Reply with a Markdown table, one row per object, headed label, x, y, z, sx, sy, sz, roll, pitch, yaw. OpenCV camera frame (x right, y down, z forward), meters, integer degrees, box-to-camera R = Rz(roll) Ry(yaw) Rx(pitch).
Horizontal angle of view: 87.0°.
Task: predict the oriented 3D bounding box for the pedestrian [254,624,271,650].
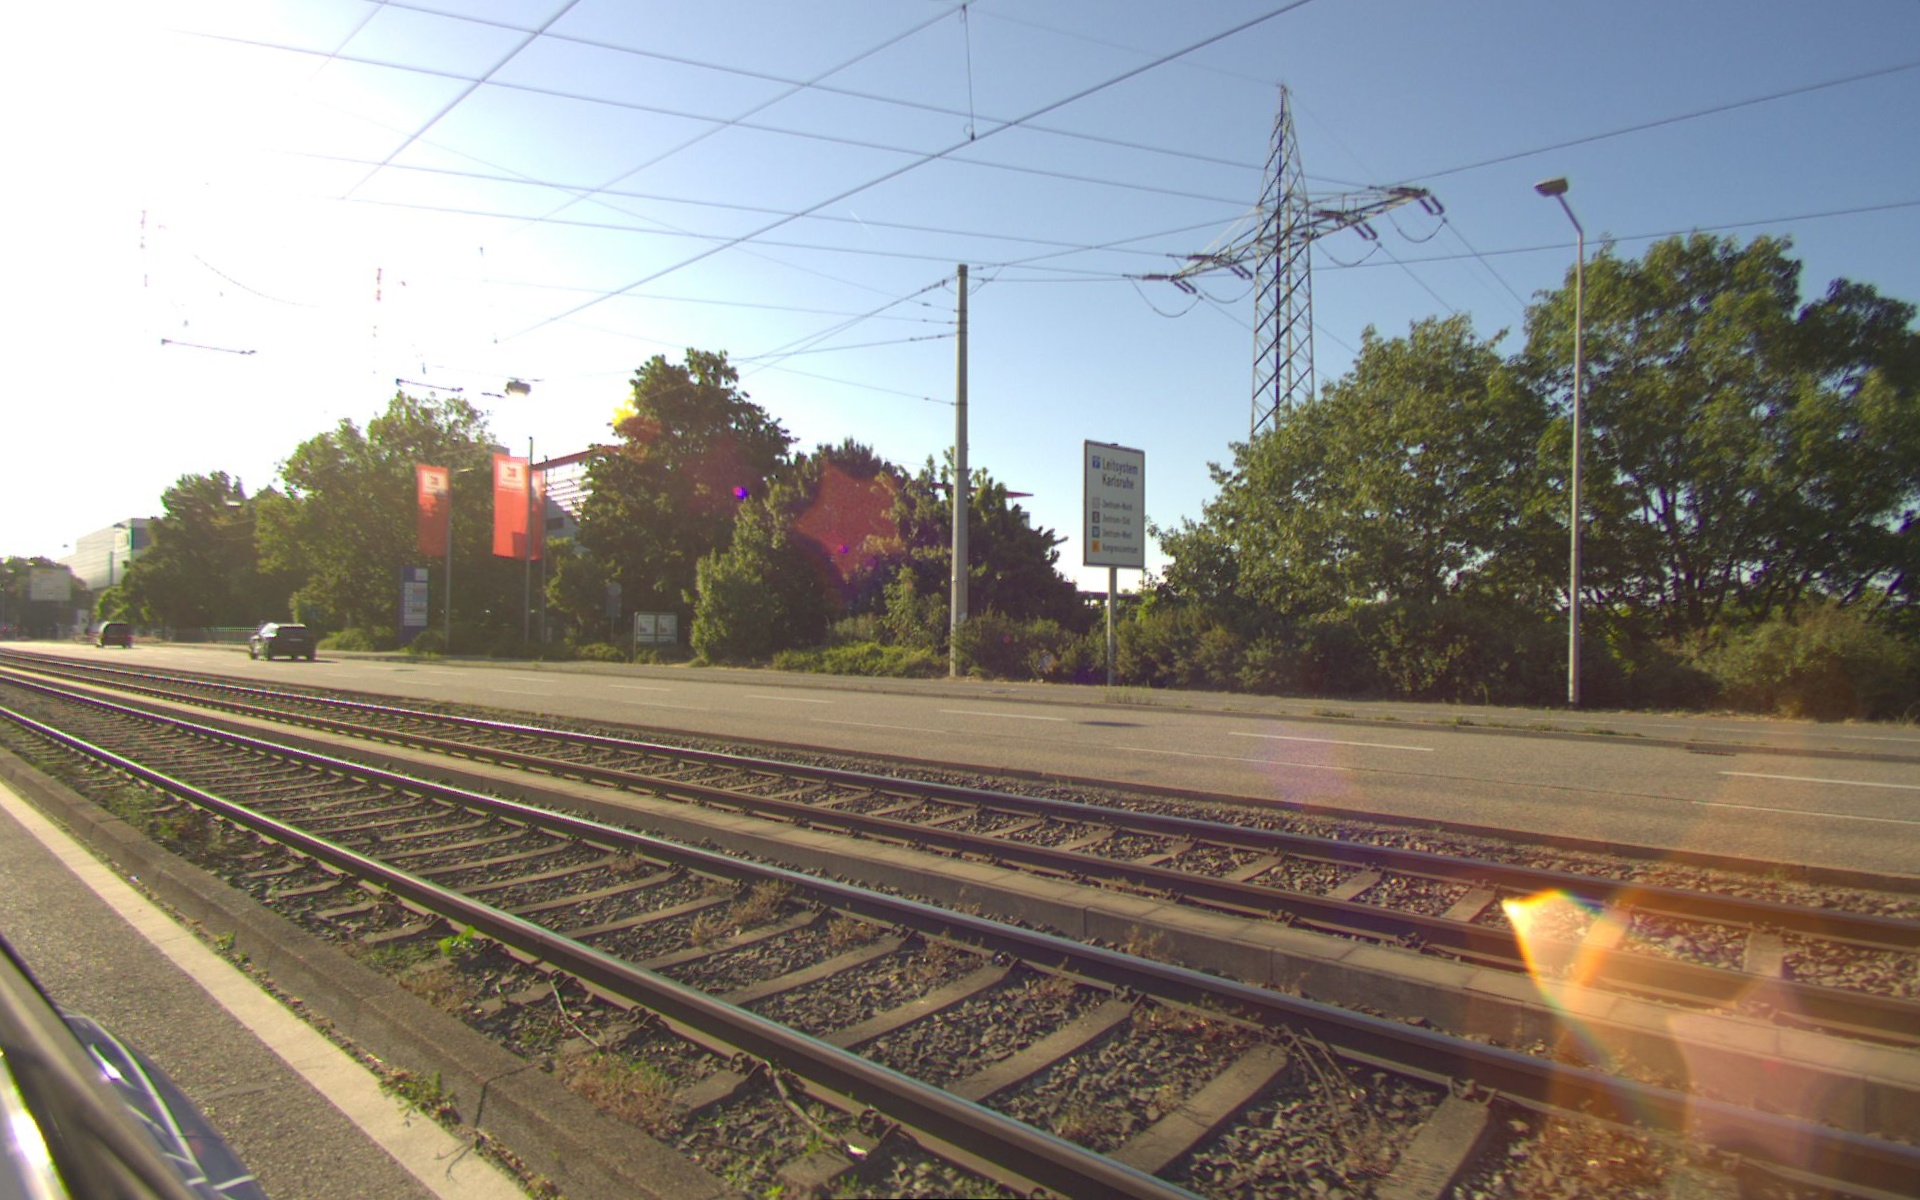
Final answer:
| label | x | y | z | sx | sy | sz | roll | pitch | yaw |
| --- | --- | --- | --- | --- | --- | --- | --- | --- | --- |
| pedestrian | -45.414 | 2.375 | 65.903 | 1.083 | 1.660 | 0.606 | -1 | 0 | 41 |

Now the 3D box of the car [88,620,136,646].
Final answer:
| label | x | y | z | sx | sy | sz | roll | pitch | yaw |
| --- | --- | --- | --- | --- | --- | --- | --- | --- | --- |
| car | -60.634 | 2.349 | 72.354 | 4.348 | 1.809 | 1.972 | -1 | -2 | 41 |

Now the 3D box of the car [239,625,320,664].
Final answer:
| label | x | y | z | sx | sy | sz | roll | pitch | yaw |
| --- | --- | --- | --- | --- | --- | --- | --- | --- | --- |
| car | -30.971 | 1.987 | 45.998 | 4.683 | 1.637 | 1.972 | -1 | -2 | 42 |

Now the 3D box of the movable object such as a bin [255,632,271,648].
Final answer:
| label | x | y | z | sx | sy | sz | roll | pitch | yaw |
| --- | --- | --- | --- | --- | --- | --- | --- | --- | --- |
| movable object such as a bin | -45.427 | 2.617 | 65.964 | 1.083 | 0.973 | 0.606 | -1 | 1 | 41 |
